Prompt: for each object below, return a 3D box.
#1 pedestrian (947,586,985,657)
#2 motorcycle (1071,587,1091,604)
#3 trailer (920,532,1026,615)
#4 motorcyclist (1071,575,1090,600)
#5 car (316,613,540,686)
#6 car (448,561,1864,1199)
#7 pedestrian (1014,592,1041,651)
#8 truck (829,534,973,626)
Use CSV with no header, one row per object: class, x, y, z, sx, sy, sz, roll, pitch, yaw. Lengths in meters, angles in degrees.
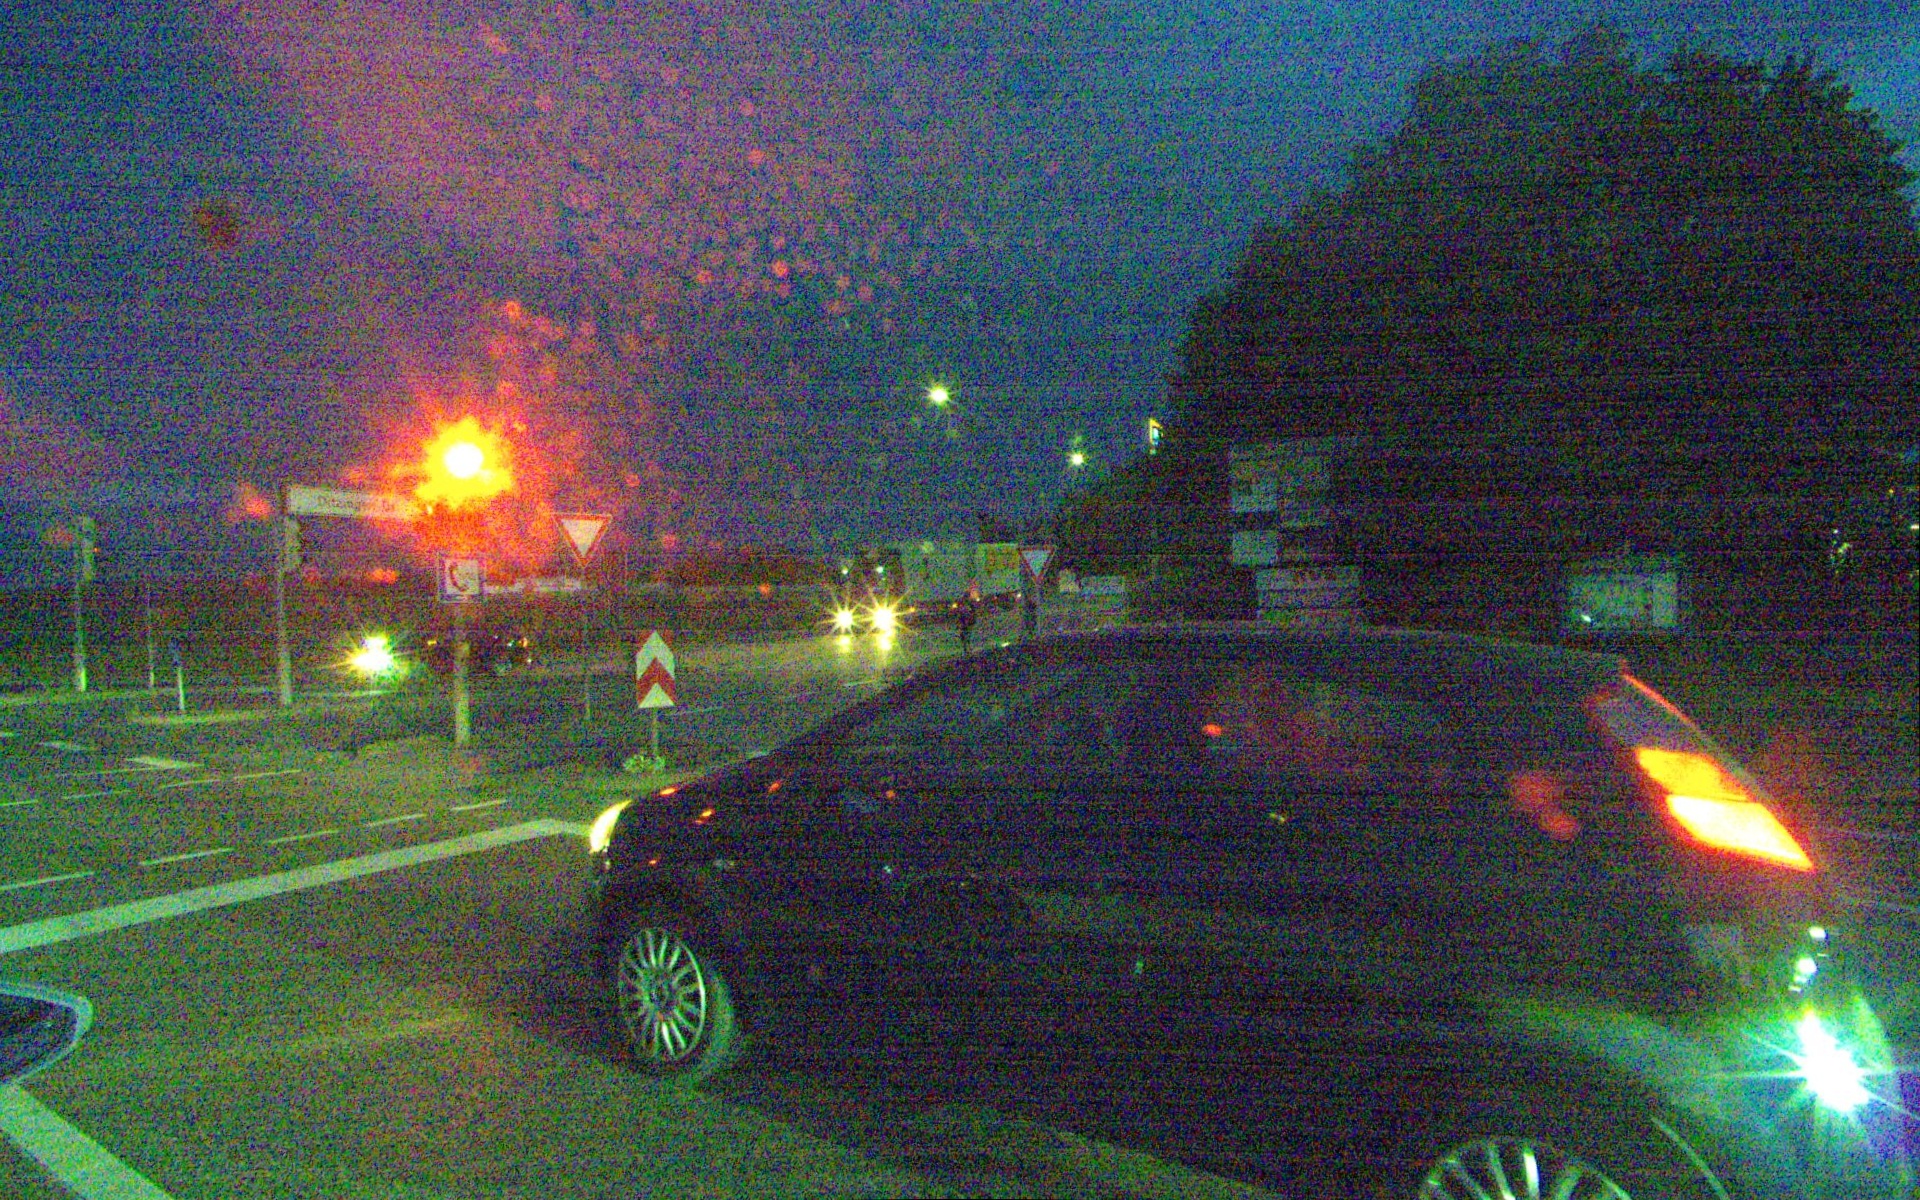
pedestrian,0.158,0.575,27.082,0.861,1.859,0.731,-3,1,6
motorcycle,7.826,-0.294,64.772,0.964,1.113,2.505,0,0,15
trailer,0.956,-1.592,57.737,2.875,4.361,9.043,-1,2,22
motorcyclist,7.779,-0.822,64.665,1.120,1.605,0.971,0,1,15
car,-13.193,1.158,25.125,1.972,1.541,4.589,0,1,33
car,0.179,0.751,3.387,4.049,1.540,1.666,-1,-1,34
pedestrian,2.267,0.713,33.492,0.860,1.925,0.660,-1,1,6
truck,-2.601,-0.942,49.063,2.875,4.033,10.042,0,1,23
